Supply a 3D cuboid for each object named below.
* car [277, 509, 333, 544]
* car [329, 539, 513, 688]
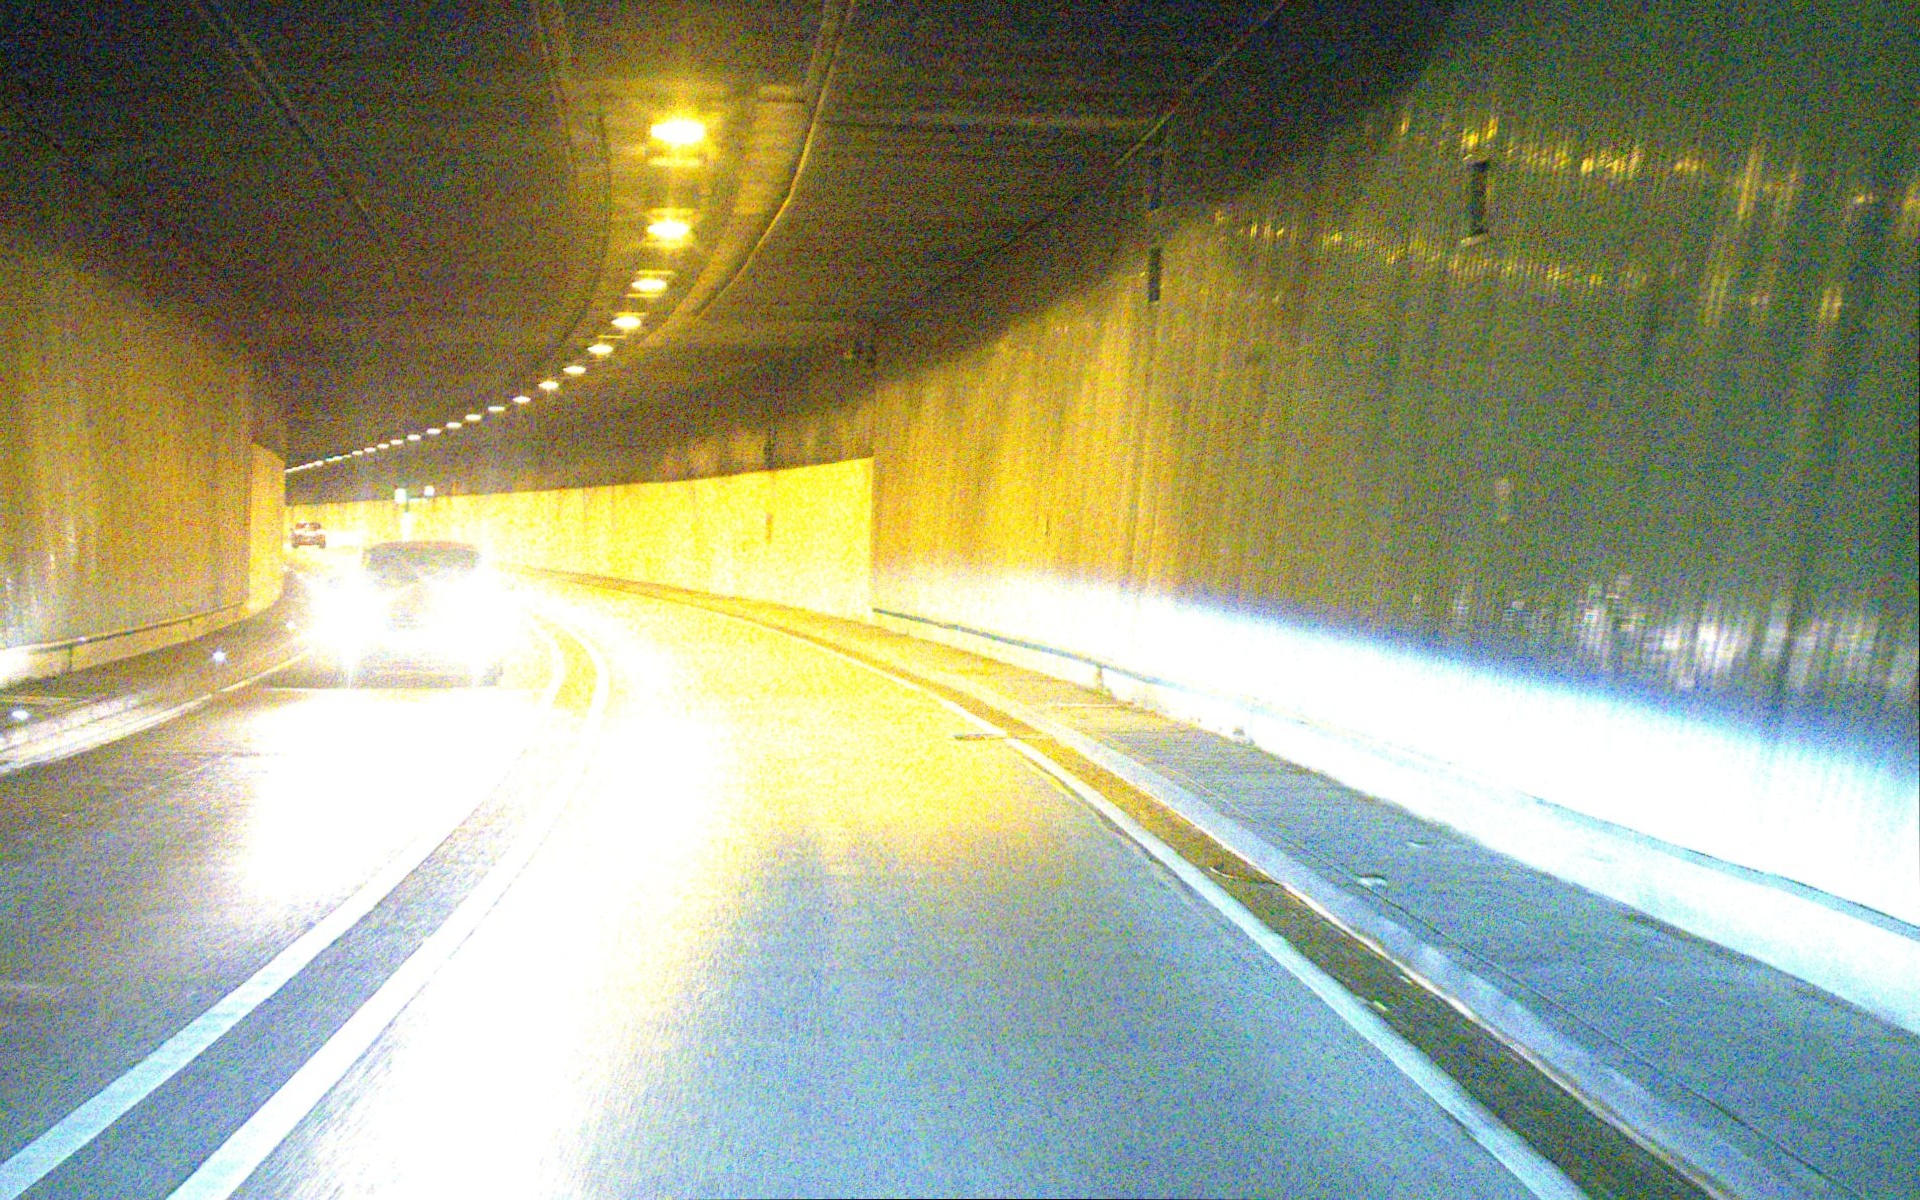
[{"bbox_3d":[-38.005,-4.257,199.539,1.966,1.932,4.613,0,0,-27],"label":"car"},{"bbox_3d":[-5.611,0.098,36.189,1.716,1.438,4.394,1,1,-7],"label":"car"}]
